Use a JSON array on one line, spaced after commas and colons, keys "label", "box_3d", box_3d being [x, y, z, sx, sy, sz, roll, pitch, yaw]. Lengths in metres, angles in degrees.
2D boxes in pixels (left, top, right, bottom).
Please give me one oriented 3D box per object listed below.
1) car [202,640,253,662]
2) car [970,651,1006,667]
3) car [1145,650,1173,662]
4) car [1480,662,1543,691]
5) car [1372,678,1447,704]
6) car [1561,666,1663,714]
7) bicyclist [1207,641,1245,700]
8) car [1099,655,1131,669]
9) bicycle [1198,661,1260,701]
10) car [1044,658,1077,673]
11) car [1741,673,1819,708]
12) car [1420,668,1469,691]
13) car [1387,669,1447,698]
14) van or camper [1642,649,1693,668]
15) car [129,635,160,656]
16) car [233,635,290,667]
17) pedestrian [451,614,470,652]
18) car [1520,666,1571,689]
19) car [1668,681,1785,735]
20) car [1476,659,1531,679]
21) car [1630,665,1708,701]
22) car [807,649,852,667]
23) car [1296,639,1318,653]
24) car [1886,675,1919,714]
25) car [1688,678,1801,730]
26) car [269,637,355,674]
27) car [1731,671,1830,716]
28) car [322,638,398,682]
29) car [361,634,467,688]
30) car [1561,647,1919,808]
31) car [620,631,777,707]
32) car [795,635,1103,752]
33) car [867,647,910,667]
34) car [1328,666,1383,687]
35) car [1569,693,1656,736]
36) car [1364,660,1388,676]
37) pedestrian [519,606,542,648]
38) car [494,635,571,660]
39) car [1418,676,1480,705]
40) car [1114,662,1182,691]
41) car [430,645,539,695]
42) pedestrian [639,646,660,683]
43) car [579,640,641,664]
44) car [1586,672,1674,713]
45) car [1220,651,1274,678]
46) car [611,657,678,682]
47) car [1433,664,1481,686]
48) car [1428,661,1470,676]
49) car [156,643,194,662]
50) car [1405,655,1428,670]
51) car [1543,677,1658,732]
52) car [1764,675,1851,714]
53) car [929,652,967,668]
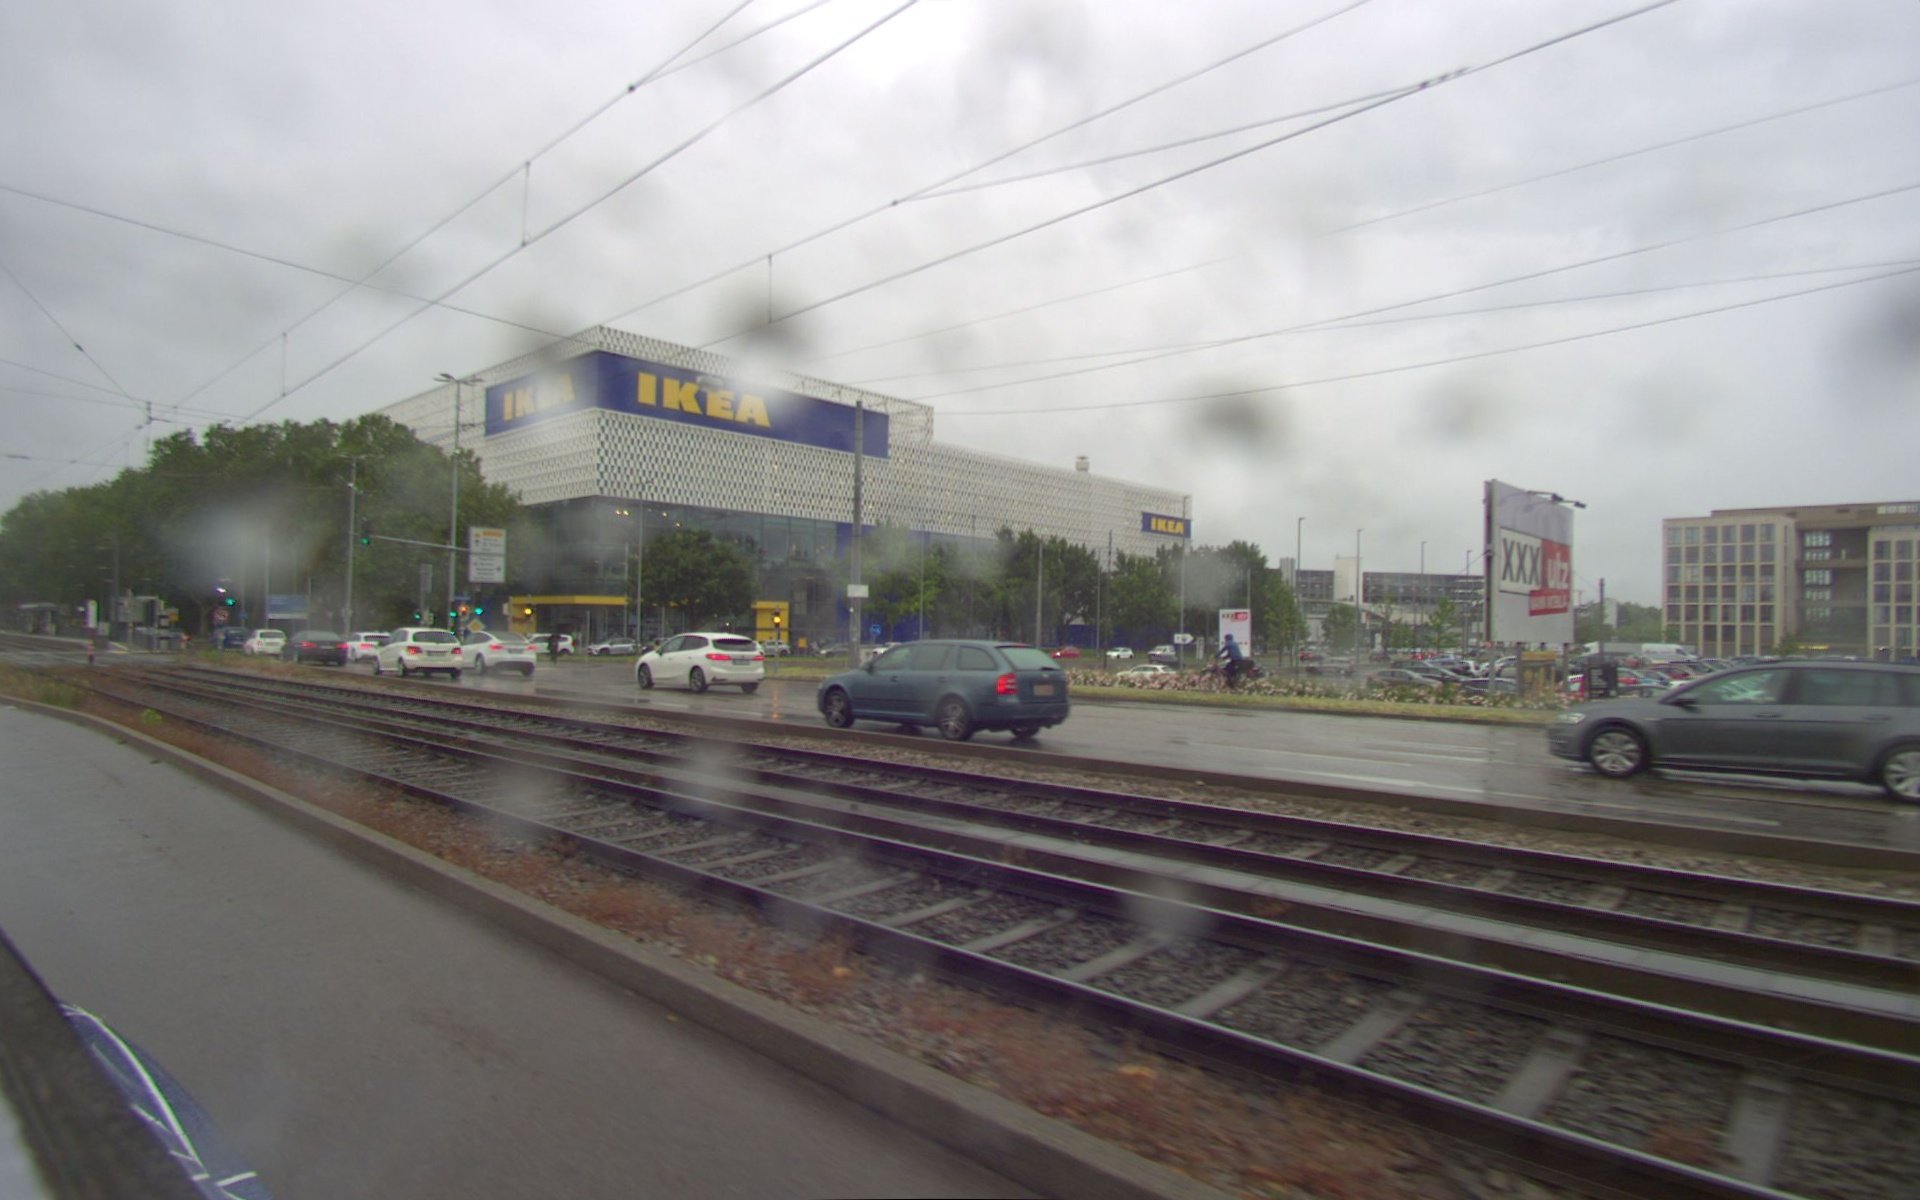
[{"label": "car", "box_3d": [-43.672, 3.043, 60.318, 4.462, 1.259, 1.693, -3, -2, 44]}, {"label": "car", "box_3d": [2.915, 6.068, 104.024, 1.603, 1.417, 3.769, -1, -1, 45]}, {"label": "car", "box_3d": [25.178, 7.061, 127.896, 1.603, 1.417, 3.769, -1, -1, 45]}, {"label": "car", "box_3d": [40.916, 5.669, 75.105, 3.900, 1.920, 1.800, -1, -1, 38]}, {"label": "car", "box_3d": [26.194, 5.284, 58.989, 3.721, 1.274, 1.532, -1, -1, 40]}, {"label": "car", "box_3d": [32.336, 4.418, 50.233, 3.997, 2.029, 1.973, -1, 0, 40]}, {"label": "bicyclist", "box_3d": [7.516, 1.971, 28.564, 0.792, 1.601, 0.664, -2, -1, 43]}, {"label": "car", "box_3d": [18.596, 7.413, 121.184, 1.710, 1.417, 4.106, -1, -1, 45]}, {"label": "bicycle", "box_3d": [7.566, 2.262, 28.523, 1.556, 1.023, 0.661, -1, 0, 43]}, {"label": "car", "box_3d": [11.254, 7.322, 113.527, 1.603, 1.417, 3.928, -1, -1, 45]}, {"label": "car", "box_3d": [54.966, 6.036, 67.902, 3.996, 2.029, 1.974, -1, -1, 40]}, {"label": "car", "box_3d": [37.454, 6.112, 78.237, 3.166, 1.535, 1.552, -1, -1, 40]}, {"label": "car", "box_3d": [35.001, 6.362, 77.540, 3.828, 1.920, 1.800, -1, -1, 38]}, {"label": "van or camper", "box_3d": [85.473, 7.072, 122.361, 4.984, 2.129, 1.764, -1, -1, 38]}, {"label": "car", "box_3d": [-68.235, 3.819, 84.688, 1.692, 1.721, 4.433, 0, -2, -43]}, {"label": "car", "box_3d": [-35.993, 2.617, 52.121, 4.049, 1.547, 1.693, -3, -2, 45]}, {"label": "pedestrian", "box_3d": [-30.366, 2.001, 61.506, 0.906, 2.261, 0.992, -1, 1, -34]}, {"label": "car", "box_3d": [44.533, 5.874, 76.985, 3.166, 1.535, 1.552, -1, -1, 40]}, {"label": "car", "box_3d": [33.776, 4.712, 44.643, 3.997, 2.029, 1.973, -1, 0, 40]}, {"label": "car", "box_3d": [47.876, 6.078, 89.153, 4.007, 1.573, 1.740, -1, -1, 43]}, {"label": "car", "box_3d": [46.323, 5.396, 66.150, 3.997, 2.029, 1.973, -1, 0, 40]}, {"label": "car", "box_3d": [-11.549, 5.105, 89.708, 1.603, 1.417, 3.769, -1, -1, 45]}, {"label": "car", "box_3d": [56.350, 7.447, 164.365, 2.001, 2.029, 3.942, -1, -1, 44]}, {"label": "car", "box_3d": [54.794, 5.366, 56.794, 3.996, 2.029, 1.974, -1, -1, 40]}, {"label": "car", "box_3d": [35.969, 4.727, 46.453, 3.997, 2.029, 1.973, -1, 0, 40]}, {"label": "car", "box_3d": [-27.893, 2.412, 43.486, 5.084, 1.434, 1.901, -3, -7, 44]}, {"label": "car", "box_3d": [43.422, 4.903, 53.627, 3.997, 2.029, 1.973, -1, -1, 41]}, {"label": "car", "box_3d": [-29.327, 2.858, 49.396, 4.791, 1.916, 1.972, -1, -1, 43]}, {"label": "car", "box_3d": [-17.902, 1.974, 33.111, 4.329, 1.585, 1.852, -3, -2, 44]}, {"label": "car", "box_3d": [9.531, 1.361, 11.347, 4.552, 1.528, 1.943, -1, -4, 41]}, {"label": "car", "box_3d": [-7.222, 1.799, 27.644, 4.694, 1.848, 1.971, -1, -2, 44]}, {"label": "car", "box_3d": [-0.296, 1.347, 15.609, 4.672, 1.468, 1.972, -1, -4, 43]}, {"label": "car", "box_3d": [-6.649, 5.312, 94.355, 1.683, 1.686, 3.955, -1, -1, 45]}, {"label": "car", "box_3d": [33.391, 6.453, 85.569, 4.038, 1.536, 1.695, -1, -1, 38]}, {"label": "car", "box_3d": [25.822, 4.518, 40.094, 2.768, 1.414, 1.334, -1, -1, 40]}, {"label": "car", "box_3d": [60.106, 9.826, 146.192, 2.001, 2.029, 3.942, -1, -1, 44]}, {"label": "pedestrian", "box_3d": [-20.893, 1.307, 49.243, 0.856, 2.029, 0.688, -1, -1, 35]}, {"label": "car", "box_3d": [-28.484, 3.133, 67.495, 1.820, 1.552, 4.398, -3, -2, 44]}, {"label": "car", "box_3d": [30.101, 5.554, 62.270, 3.166, 1.535, 1.552, -1, -1, 40]}, {"label": "car", "box_3d": [12.281, 4.962, 66.086, 3.997, 1.616, 1.782, -1, 0, 40]}, {"label": "car", "box_3d": [-17.609, 2.523, 37.358, 4.841, 1.618, 1.887, -2, 0, 42]}, {"label": "pedestrian", "box_3d": [-16.083, 3.335, 52.402, 0.767, 1.832, 0.707, -1, -1, 35]}, {"label": "car", "box_3d": [-25.736, 3.810, 74.551, 1.761, 1.630, 3.960, -1, -1, 44]}, {"label": "car", "box_3d": [38.471, 5.286, 58.160, 3.997, 2.029, 1.973, -1, 0, 40]}, {"label": "car", "box_3d": [24.525, 5.476, 86.432, 3.996, 2.029, 1.974, -1, -1, 40]}, {"label": "car", "box_3d": [-22.746, 4.999, 73.037, 1.820, 1.552, 4.318, -3, -2, 44]}, {"label": "car", "box_3d": [39.457, 5.965, 80.307, 3.166, 1.535, 1.552, -1, -1, 40]}, {"label": "car", "box_3d": [51.538, 7.200, 106.668, 1.760, 1.417, 3.570, 0, -1, -44]}, {"label": "car", "box_3d": [-57.589, 3.839, 74.221, 4.049, 1.259, 1.693, -3, -2, 45]}, {"label": "car", "box_3d": [69.186, 9.457, 153.407, 2.001, 2.029, 3.942, -1, -1, 44]}, {"label": "car", "box_3d": [27.852, 4.476, 44.036, 3.997, 2.029, 1.973, -1, 0, 40]}, {"label": "car", "box_3d": [51.968, 5.747, 62.134, 3.996, 2.029, 1.974, -1, -1, 40]}, {"label": "car", "box_3d": [-1.189, 5.886, 99.854, 1.603, 1.417, 3.769, -1, -1, 45]}]
